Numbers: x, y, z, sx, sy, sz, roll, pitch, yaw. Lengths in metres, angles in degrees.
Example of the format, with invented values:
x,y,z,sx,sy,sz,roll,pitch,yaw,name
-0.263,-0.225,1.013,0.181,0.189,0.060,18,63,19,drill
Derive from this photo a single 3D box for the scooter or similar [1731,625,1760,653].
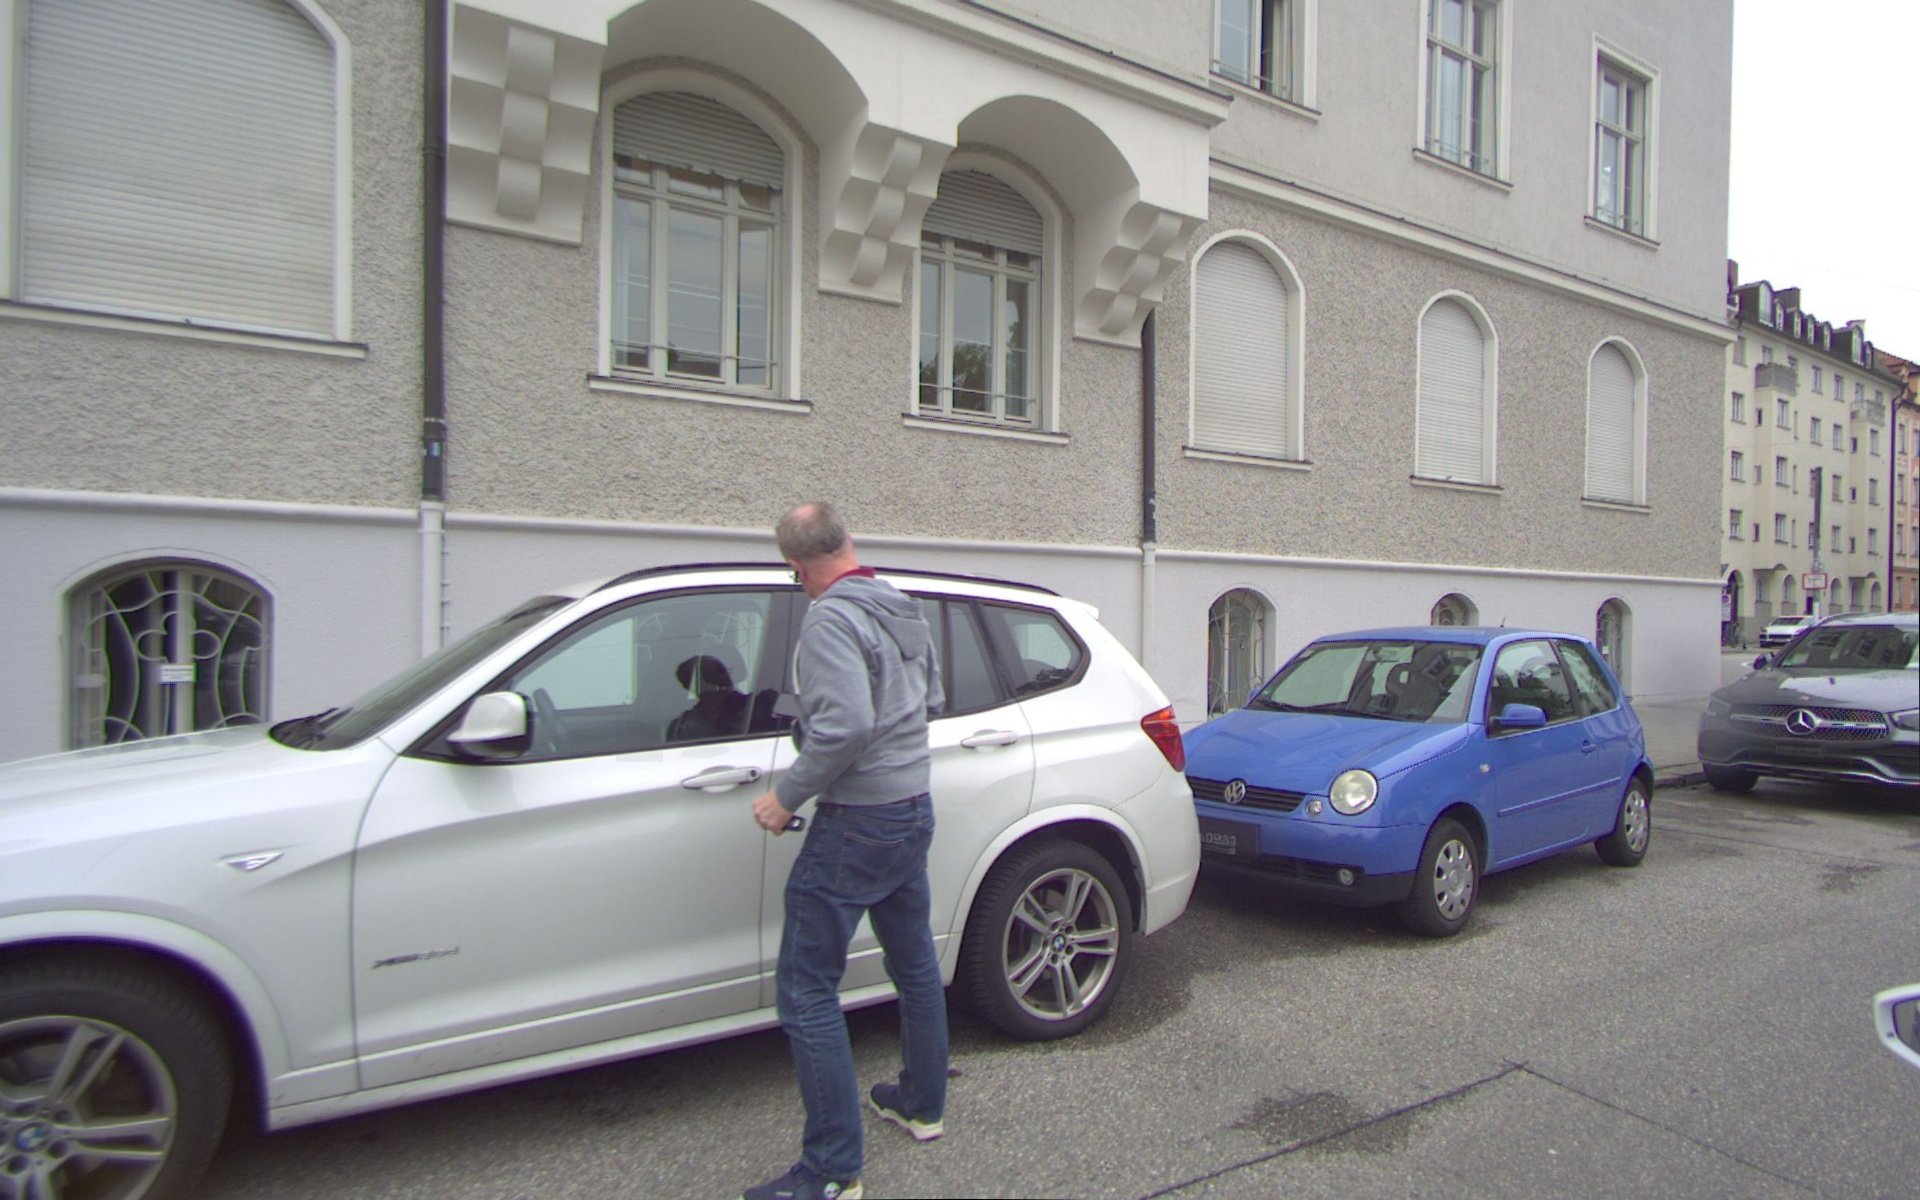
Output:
x,y,z,sx,sy,sz,roll,pitch,yaw,name
36.229,1.790,46.360,0.458,1.209,1.216,1,0,6,scooter or similar

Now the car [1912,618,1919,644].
x,y,z,sx,sy,sz,roll,pitch,yaw,name
61.773,1.933,63.021,4.359,1.602,1.965,1,0,-32,car

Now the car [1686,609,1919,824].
x,y,z,sx,sy,sz,roll,pitch,yaw,name
8.830,0.930,9.368,4.445,1.623,1.738,1,-2,-31,car

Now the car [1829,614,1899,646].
x,y,z,sx,sy,sz,roll,pitch,yaw,name
49.346,1.623,54.816,4.668,1.637,1.961,1,0,-37,car

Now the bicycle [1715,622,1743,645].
x,y,z,sx,sy,sz,roll,pitch,yaw,name
37.723,1.630,49.264,1.812,1.063,0.559,1,0,-35,bicycle

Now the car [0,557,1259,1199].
x,y,z,sx,sy,sz,roll,pitch,yaw,name
-1.149,0.765,3.608,4.445,1.623,1.738,1,-2,-31,car

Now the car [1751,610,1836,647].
x,y,z,sx,sy,sz,roll,pitch,yaw,name
40.664,1.369,48.991,4.791,1.723,1.963,1,0,-34,car

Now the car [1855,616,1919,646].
x,y,z,sx,sy,sz,roll,pitch,yaw,name
53.335,1.735,57.547,4.359,1.602,1.964,1,0,-32,car

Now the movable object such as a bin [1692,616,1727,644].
x,y,z,sx,sy,sz,roll,pitch,yaw,name
39.051,1.560,52.336,1.160,1.444,1.085,1,0,-32,movable object such as a bin

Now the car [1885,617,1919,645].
x,y,z,sx,sy,sz,roll,pitch,yaw,name
57.609,1.836,60.351,4.359,1.602,1.965,1,0,-32,car

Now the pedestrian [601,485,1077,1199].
x,y,z,sx,sy,sz,roll,pitch,yaw,name
-0.307,0.648,2.748,0.948,1.779,0.874,1,0,34,pedestrian

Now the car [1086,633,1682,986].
x,y,z,sx,sy,sz,roll,pitch,yaw,name
2.625,0.919,5.929,3.629,1.433,1.679,1,-2,-37,car
